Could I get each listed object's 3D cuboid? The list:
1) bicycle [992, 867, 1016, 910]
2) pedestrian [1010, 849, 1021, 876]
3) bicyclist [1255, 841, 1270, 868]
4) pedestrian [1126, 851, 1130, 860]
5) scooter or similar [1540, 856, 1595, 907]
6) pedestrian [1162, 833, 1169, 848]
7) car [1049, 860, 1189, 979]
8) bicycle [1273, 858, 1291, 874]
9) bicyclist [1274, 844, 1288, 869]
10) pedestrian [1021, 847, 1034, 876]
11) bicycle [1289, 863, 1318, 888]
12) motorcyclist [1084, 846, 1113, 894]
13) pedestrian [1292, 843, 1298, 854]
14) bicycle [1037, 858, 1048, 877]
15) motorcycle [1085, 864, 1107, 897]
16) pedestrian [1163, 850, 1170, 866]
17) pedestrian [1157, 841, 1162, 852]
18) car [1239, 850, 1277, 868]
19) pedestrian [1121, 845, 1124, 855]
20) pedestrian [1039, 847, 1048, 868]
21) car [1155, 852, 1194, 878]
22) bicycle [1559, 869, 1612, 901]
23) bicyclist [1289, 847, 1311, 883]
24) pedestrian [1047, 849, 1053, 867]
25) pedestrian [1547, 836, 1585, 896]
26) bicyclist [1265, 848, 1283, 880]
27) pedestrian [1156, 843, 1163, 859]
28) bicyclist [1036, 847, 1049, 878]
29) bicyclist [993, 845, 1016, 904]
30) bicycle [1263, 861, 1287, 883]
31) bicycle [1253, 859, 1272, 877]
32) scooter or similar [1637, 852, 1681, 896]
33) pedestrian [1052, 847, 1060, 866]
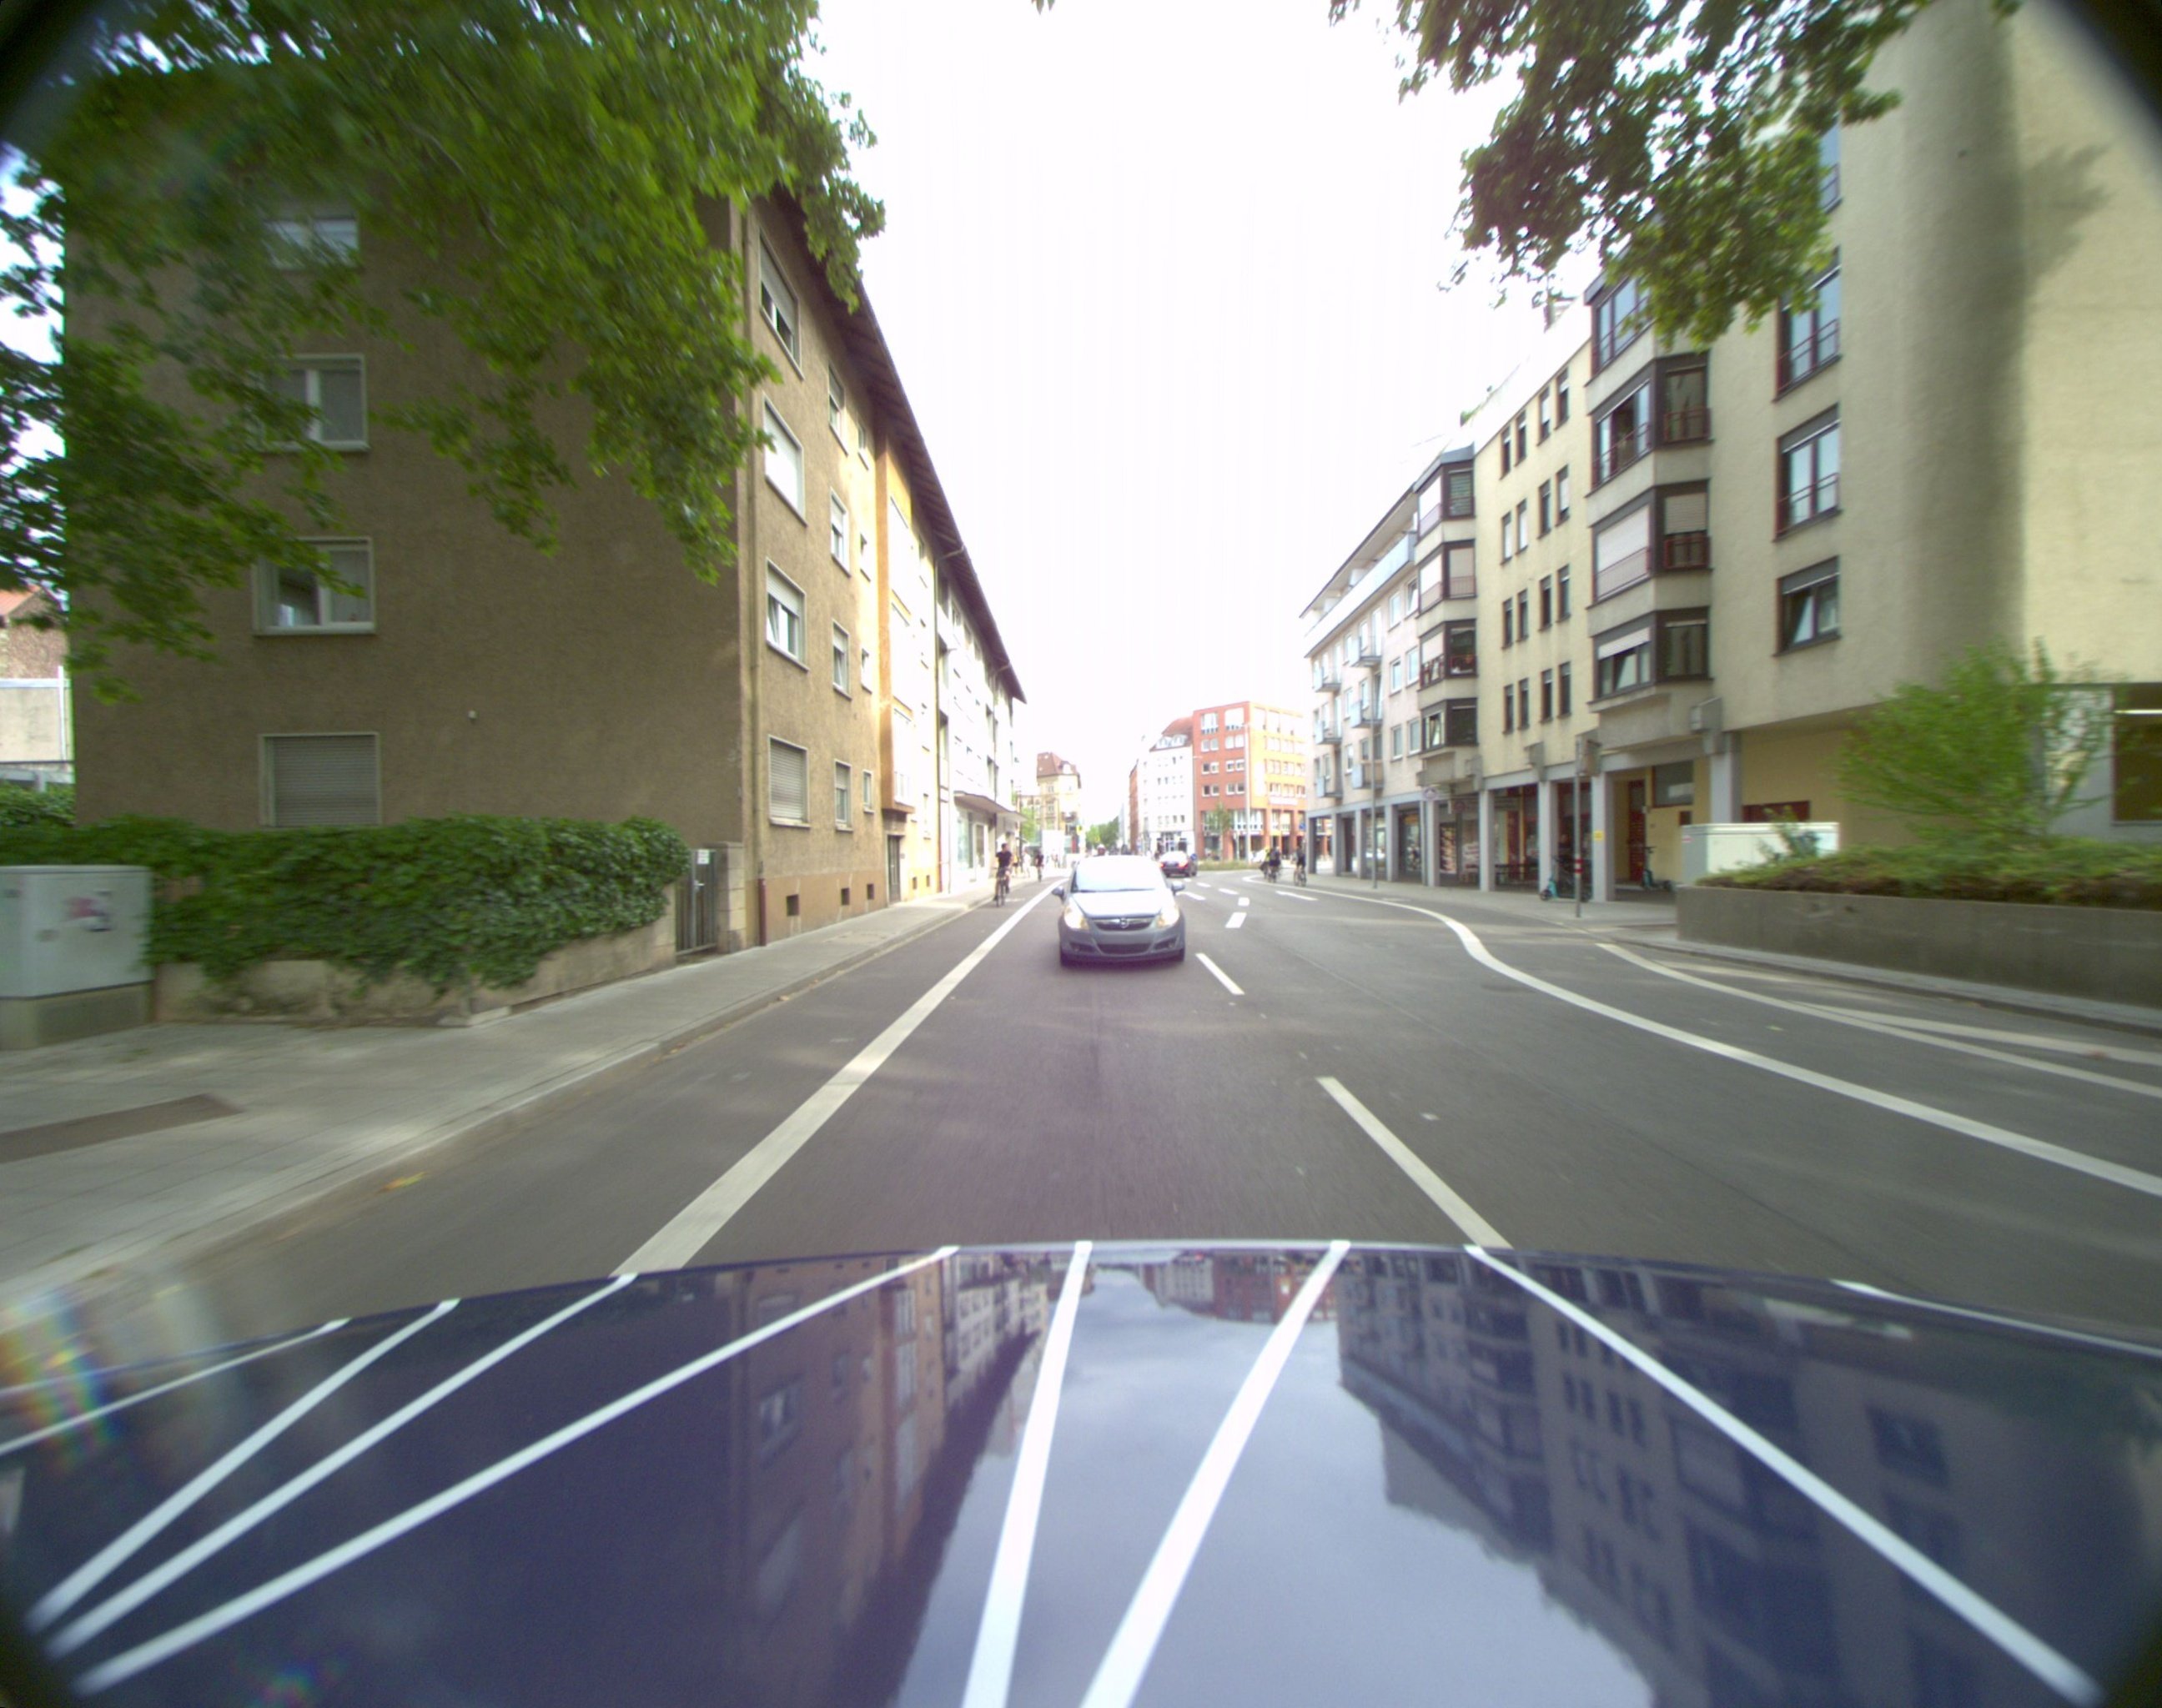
[{"bbox_3d":[-2.251,0.992,22.381,0.407,1.115,2.016,-2,1,1],"label":"bicycle"},{"bbox_3d":[-4.102,0.532,47.707,0.606,1.659,0.944,-1,1,-1],"label":"pedestrian"},{"bbox_3d":[10.493,0.019,44.038,0.658,1.516,0.841,-3,0,5],"label":"bicyclist"},{"bbox_3d":[8.599,0.269,138.566,0.540,1.713,0.520,0,2,11],"label":"pedestrian"},{"bbox_3d":[12.424,0.694,19.423,0.287,1.257,1.173,-2,1,-36],"label":"scooter or similar"},{"bbox_3d":[10.471,-1.622,93.804,0.697,1.813,0.567,-1,1,-45],"label":"pedestrian"},{"bbox_3d":[0.575,0.826,11.381,1.723,1.394,4.001,0,0,3],"label":"car"},{"bbox_3d":[12.806,0.746,48.419,0.739,1.001,1.910,-1,-1,5],"label":"bicycle"},{"bbox_3d":[12.695,0.157,48.182,0.658,1.517,1.002,-3,2,5],"label":"bicyclist"},{"bbox_3d":[-3.346,0.470,47.656,0.753,1.740,0.859,-1,1,0],"label":"pedestrian"},{"bbox_3d":[9.593,0.925,32.865,0.739,1.001,2.196,-3,-1,4],"label":"bicycle"},{"bbox_3d":[0.583,0.497,24.548,0.871,1.508,1.044,-1,1,4],"label":"motorcyclist"},{"bbox_3d":[30.650,-0.789,108.996,0.601,1.677,0.639,-1,1,-44],"label":"pedestrian"},{"bbox_3d":[-2.028,0.694,40.303,0.489,0.994,1.747,-2,0,0],"label":"bicycle"},{"bbox_3d":[0.492,0.840,24.339,0.570,0.962,2.015,-1,0,5],"label":"motorcycle"},{"bbox_3d":[10.074,0.472,89.459,0.720,1.960,1.015,2,1,9],"label":"pedestrian"},{"bbox_3d":[11.714,-1.115,113.202,0.593,1.502,0.629,-1,0,-7],"label":"pedestrian"},{"bbox_3d":[20.506,0.579,87.902,4.006,1.868,1.995,-2,1,-31],"label":"car"},{"bbox_3d":[7.556,-0.729,138.745,0.591,1.712,0.520,-1,1,8],"label":"pedestrian"},{"bbox_3d":[-3.418,0.341,68.900,0.673,1.892,0.590,2,1,2],"label":"pedestrian"},{"bbox_3d":[5.500,0.691,45.008,1.815,1.399,4.611,-1,-3,1],"label":"car"},{"bbox_3d":[13.896,0.837,20.961,0.430,0.816,1.619,-1,1,1],"label":"bicycle"},{"bbox_3d":[9.493,0.459,32.948,0.658,1.516,1.077,-3,0,5],"label":"bicyclist"},{"bbox_3d":[-2.818,0.372,68.802,0.473,1.663,0.590,2,1,2],"label":"pedestrian"},{"bbox_3d":[14.469,0.347,22.673,0.582,1.747,0.784,-3,1,1],"label":"pedestrian"},{"bbox_3d":[9.513,0.492,37.496,0.658,1.516,0.857,-3,0,5],"label":"bicyclist"},{"bbox_3d":[9.282,-0.326,89.476,0.675,1.789,0.887,2,1,9],"label":"pedestrian"},{"bbox_3d":[-2.043,0.471,40.319,0.613,1.594,0.847,-3,0,-1],"label":"bicyclist"},{"bbox_3d":[-2.246,0.603,22.409,0.560,1.699,0.862,-1,1,0],"label":"bicyclist"},{"bbox_3d":[9.543,0.873,37.428,0.739,1.001,1.977,-3,-1,4],"label":"bicycle"},{"bbox_3d":[10.559,0.809,44.215,0.739,1.001,2.253,-3,-1,5],"label":"bicycle"},{"bbox_3d":[16.006,0.536,21.077,0.287,1.195,1.176,-1,1,-2],"label":"scooter or similar"},{"bbox_3d":[-2.500,0.275,75.599,0.657,1.842,0.971,2,2,4],"label":"pedestrian"}]
